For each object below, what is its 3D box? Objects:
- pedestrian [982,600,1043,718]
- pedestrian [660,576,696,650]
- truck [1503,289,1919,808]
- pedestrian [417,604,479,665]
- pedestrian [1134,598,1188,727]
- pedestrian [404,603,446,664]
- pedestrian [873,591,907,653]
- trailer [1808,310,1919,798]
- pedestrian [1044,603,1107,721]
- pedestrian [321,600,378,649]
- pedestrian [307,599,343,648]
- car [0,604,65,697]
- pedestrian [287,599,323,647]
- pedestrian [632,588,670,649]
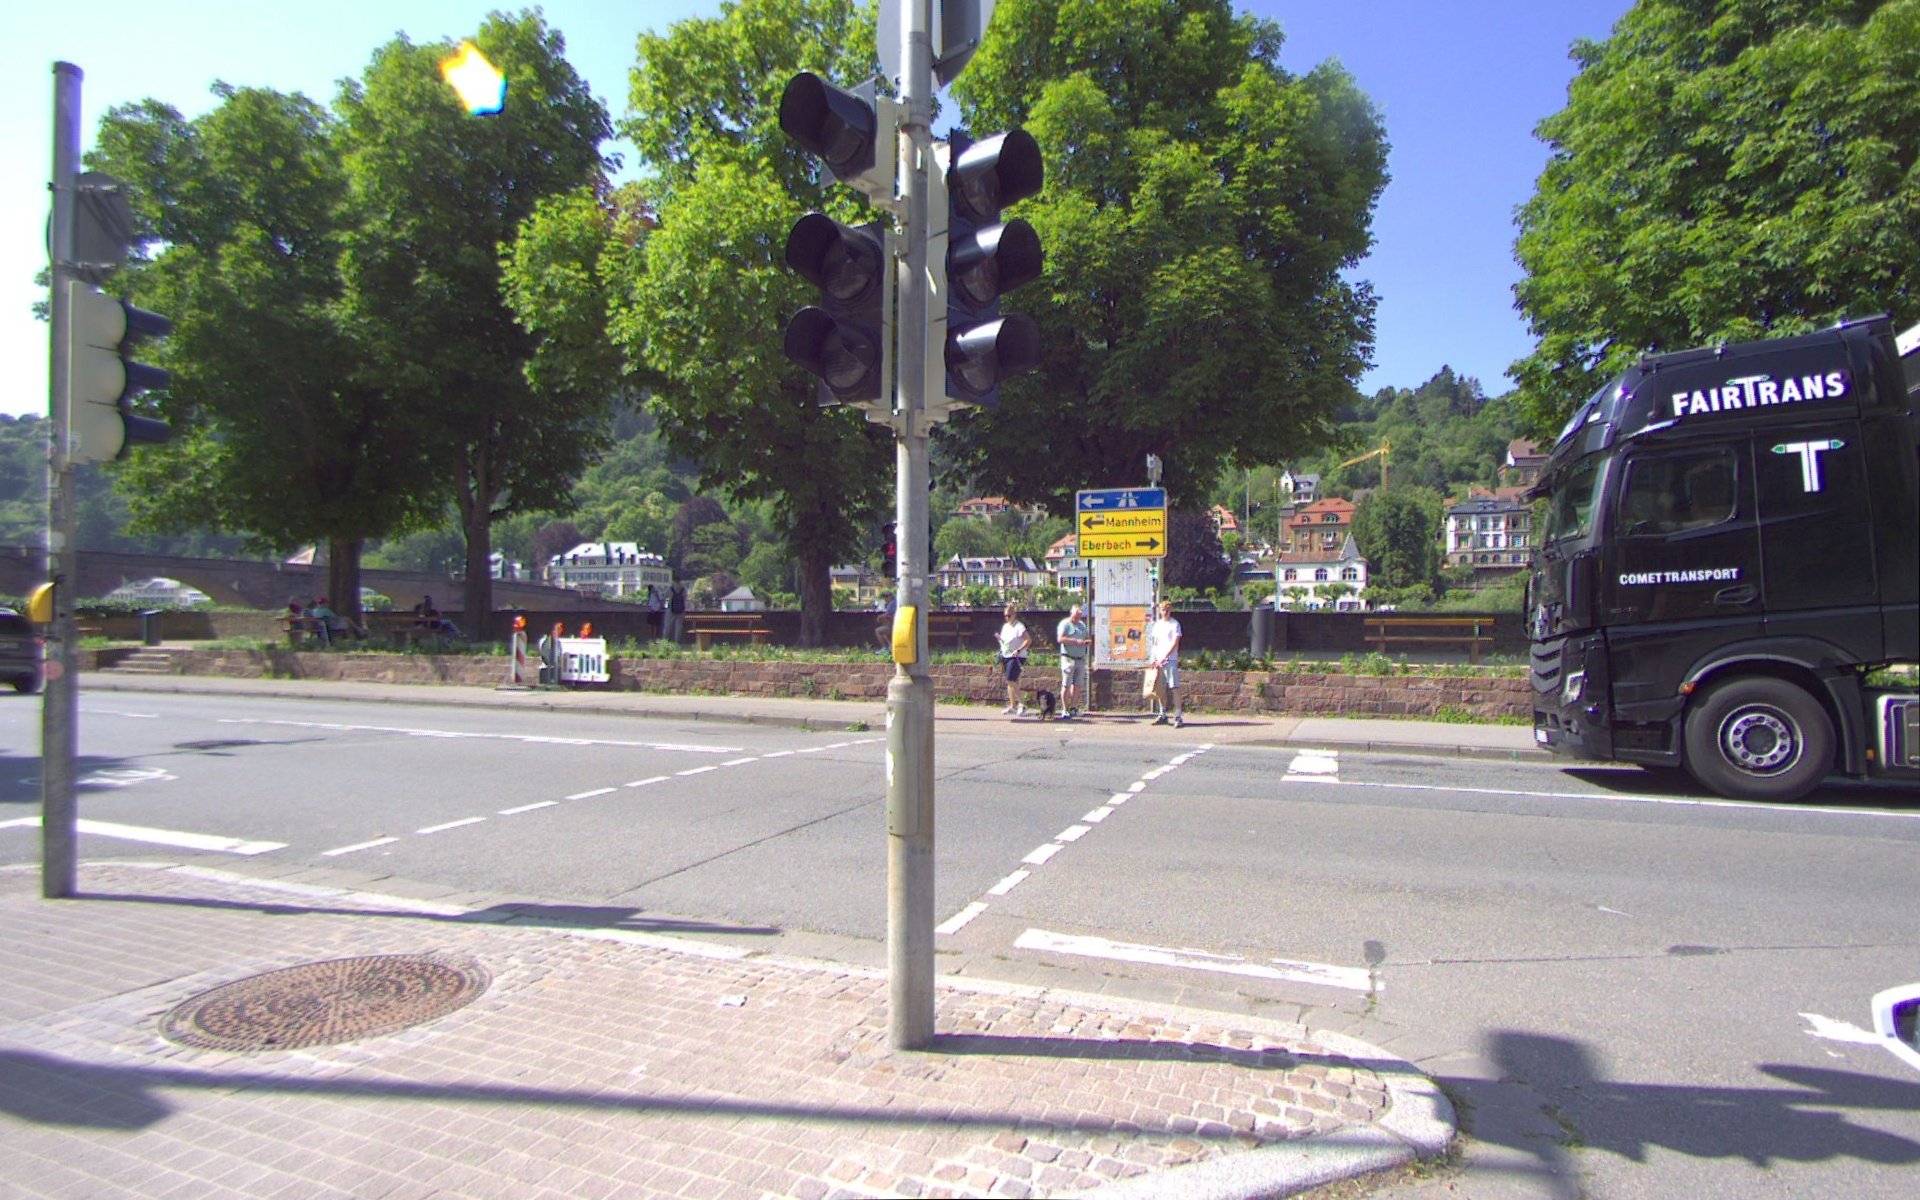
[{"bbox_3d":[0.836,0.917,16.102,0.627,1.826,0.717,-2,1,-34],"label":"pedestrian"},{"bbox_3d":[-7.273,0.346,25.935,0.751,1.882,0.756,2,-2,-9],"label":"pedestrian"},{"bbox_3d":[8.459,-0.345,9.140,5.816,4.124,2.840,0,-3,21],"label":"truck"},{"bbox_3d":[-12.944,0.872,25.424,0.460,1.499,1.384,0,-2,26],"label":"pedestrian"},{"bbox_3d":[2.948,0.902,14.706,0.691,1.825,0.580,0,-2,20],"label":"pedestrian"},{"bbox_3d":[-13.535,0.844,25.424,0.460,1.513,0.804,0,-2,26],"label":"pedestrian"},{"bbox_3d":[-1.423,0.450,20.426,0.630,1.244,0.414,-1,-3,3],"label":"pedestrian"},{"bbox_3d":[14.717,-0.390,6.736,13.502,4.157,2.843,0,-3,21],"label":"trailer"},{"bbox_3d":[1.802,0.956,15.715,0.709,1.793,0.685,2,-2,-29],"label":"pedestrian"},{"bbox_3d":[-16.360,0.659,26.929,0.460,1.287,1.223,0,-2,25],"label":"pedestrian"},{"bbox_3d":[-16.979,0.636,26.874,0.460,1.287,0.631,0,-2,26],"label":"pedestrian"},{"bbox_3d":[-20.540,0.947,20.195,4.322,1.776,1.845,1,-4,20],"label":"car"},{"bbox_3d":[-17.763,0.617,27.250,0.460,1.287,0.631,0,-2,26],"label":"pedestrian"},{"bbox_3d":[-9.003,0.539,29.256,0.696,1.754,0.757,1,-2,17],"label":"pedestrian"}]
